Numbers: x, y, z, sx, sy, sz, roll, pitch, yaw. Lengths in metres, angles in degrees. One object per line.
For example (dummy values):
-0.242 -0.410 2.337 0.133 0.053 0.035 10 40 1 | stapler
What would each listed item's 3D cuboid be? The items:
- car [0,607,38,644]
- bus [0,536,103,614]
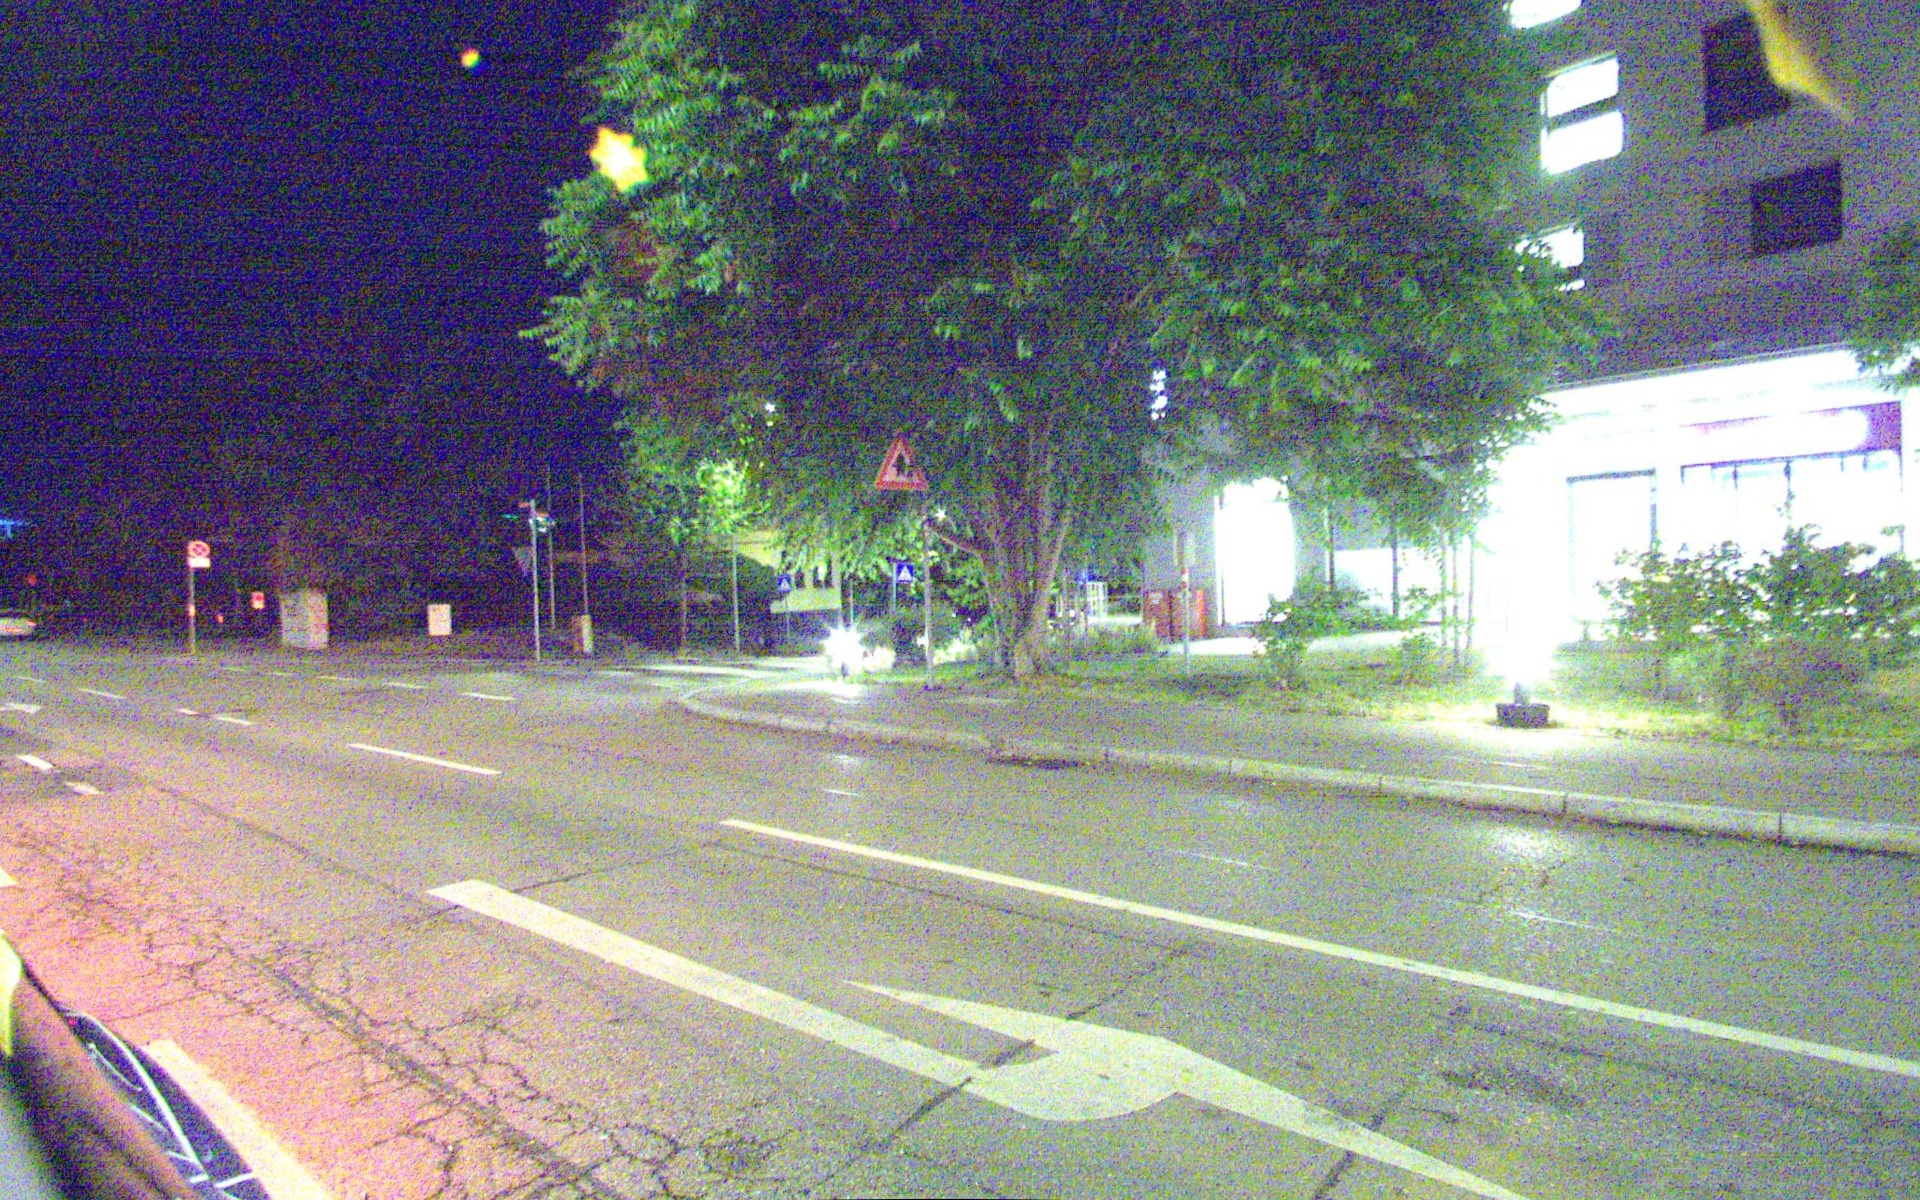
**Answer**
-43.164 1.144 45.635 3.995 1.604 1.784 -1 0 39 | car
-88.435 -2.221 98.145 14.776 6.990 6.056 -1 0 41 | bus
